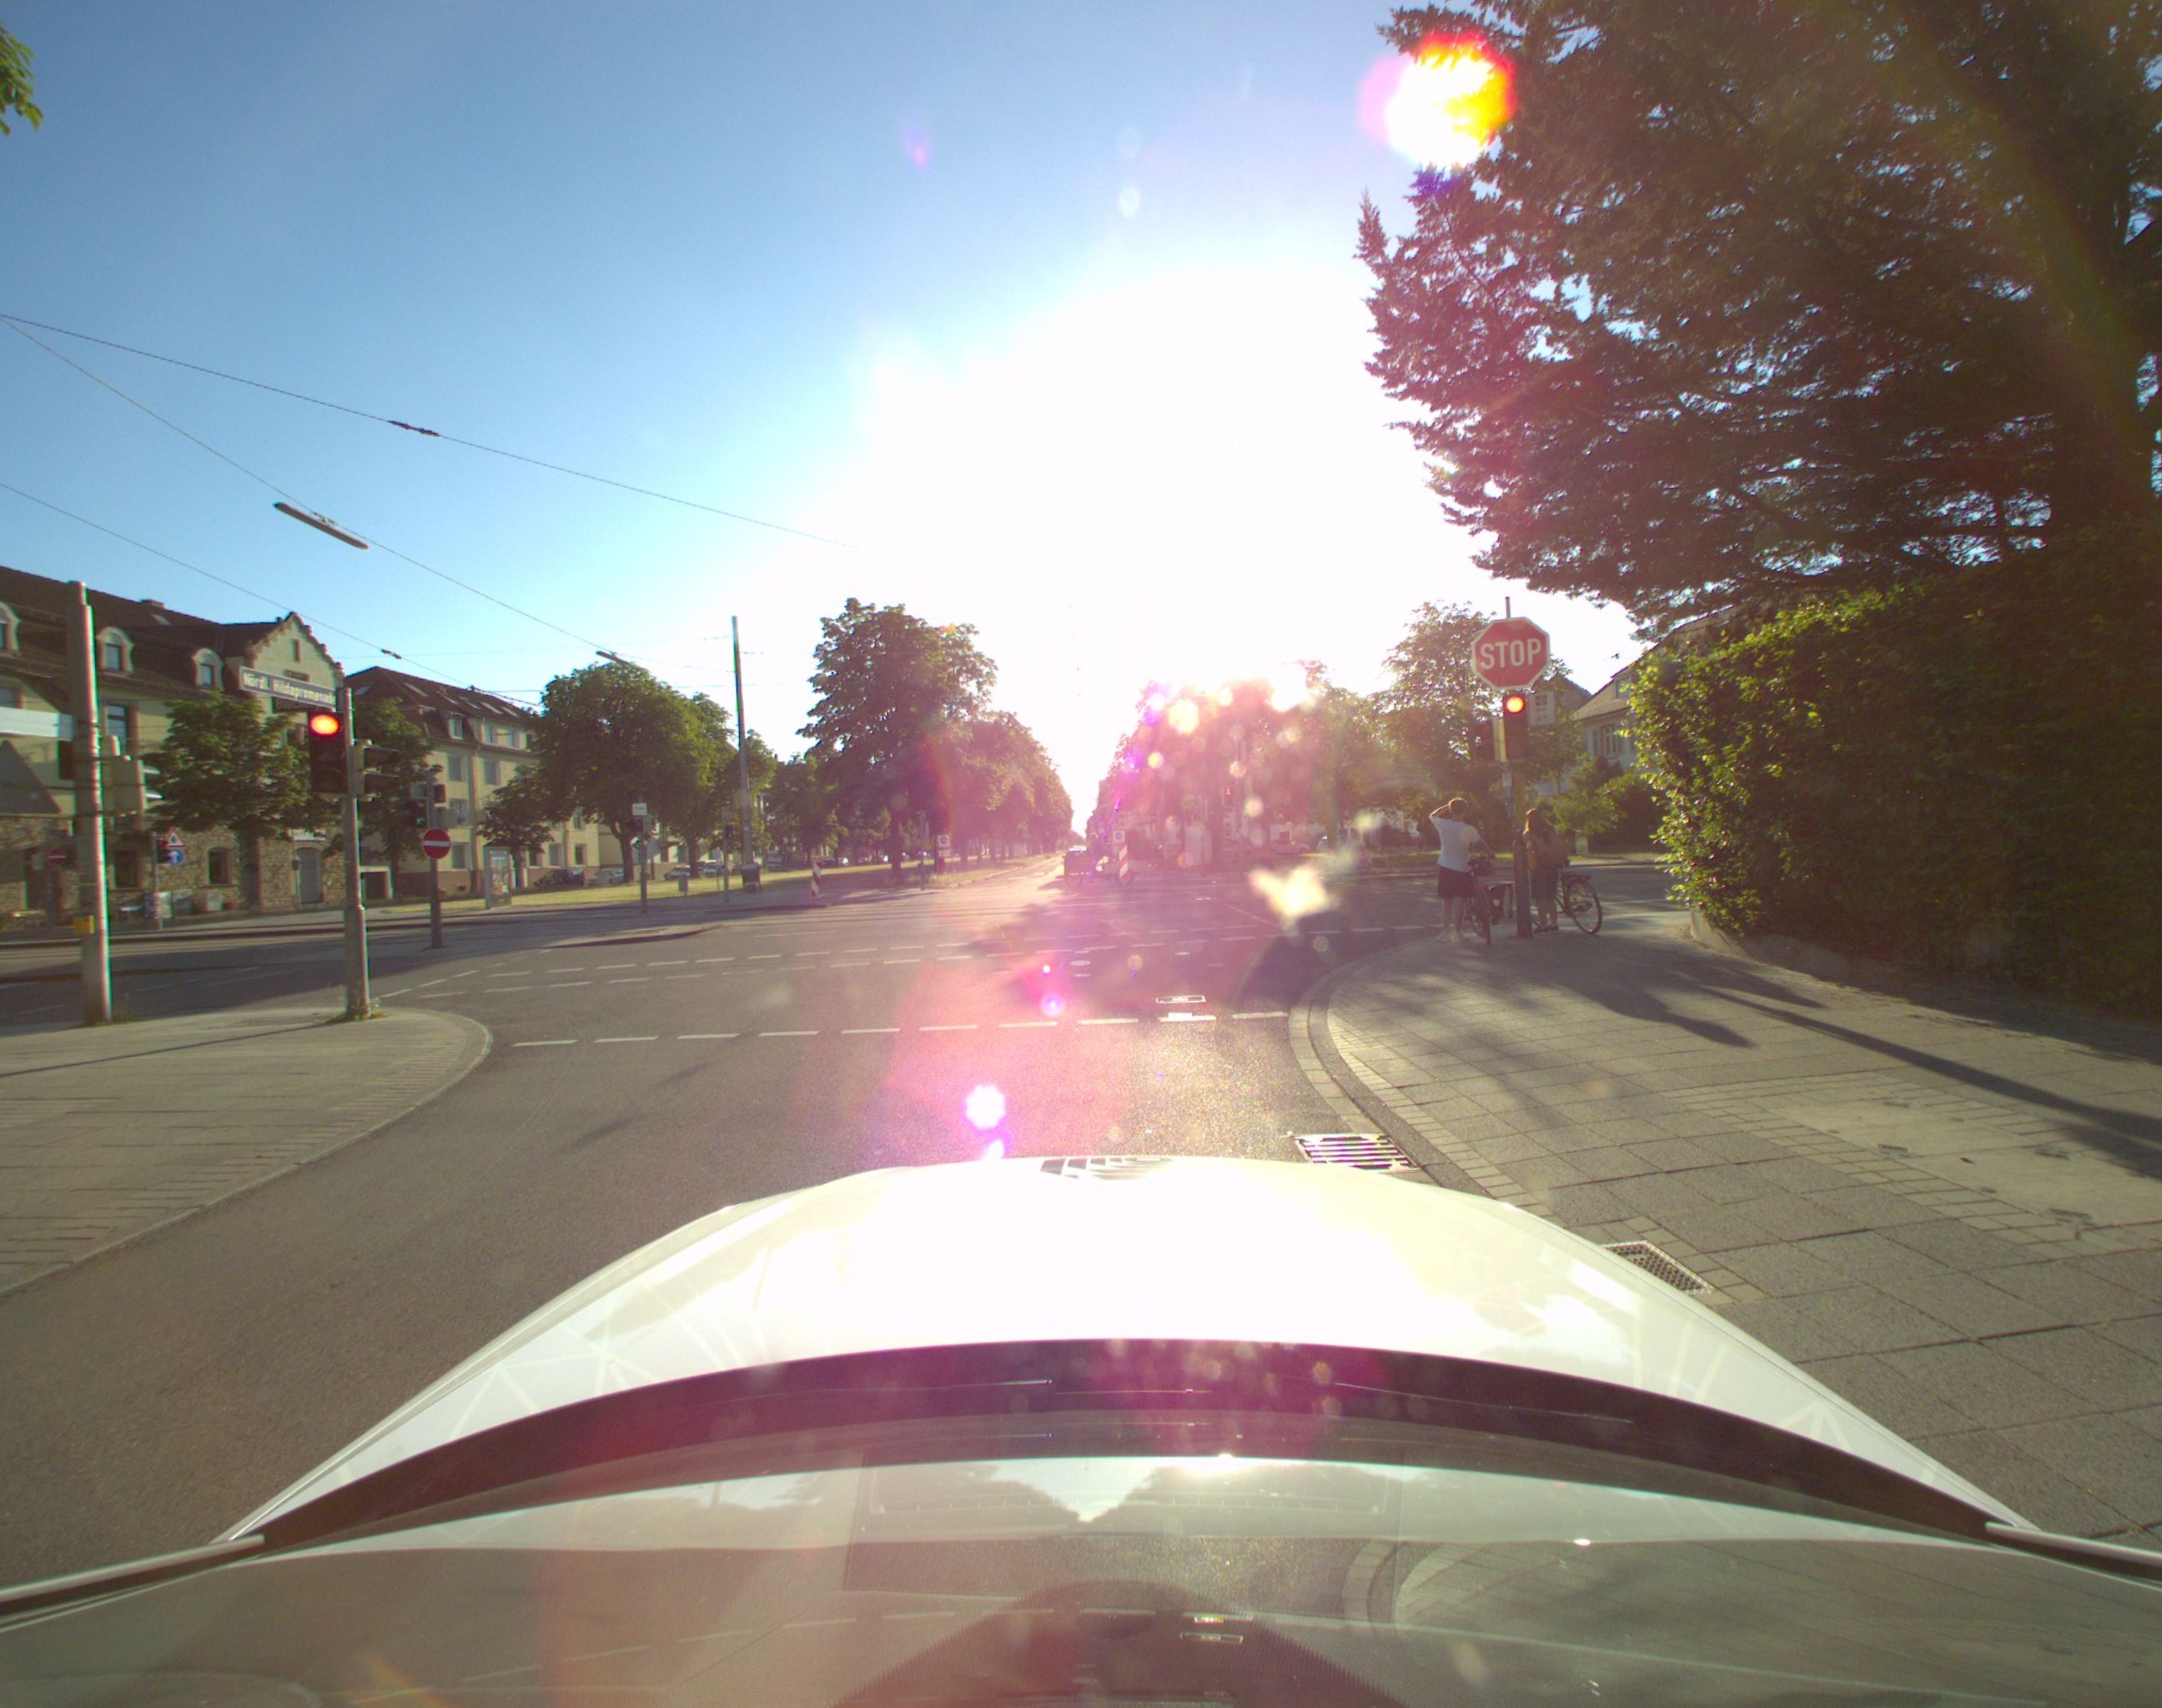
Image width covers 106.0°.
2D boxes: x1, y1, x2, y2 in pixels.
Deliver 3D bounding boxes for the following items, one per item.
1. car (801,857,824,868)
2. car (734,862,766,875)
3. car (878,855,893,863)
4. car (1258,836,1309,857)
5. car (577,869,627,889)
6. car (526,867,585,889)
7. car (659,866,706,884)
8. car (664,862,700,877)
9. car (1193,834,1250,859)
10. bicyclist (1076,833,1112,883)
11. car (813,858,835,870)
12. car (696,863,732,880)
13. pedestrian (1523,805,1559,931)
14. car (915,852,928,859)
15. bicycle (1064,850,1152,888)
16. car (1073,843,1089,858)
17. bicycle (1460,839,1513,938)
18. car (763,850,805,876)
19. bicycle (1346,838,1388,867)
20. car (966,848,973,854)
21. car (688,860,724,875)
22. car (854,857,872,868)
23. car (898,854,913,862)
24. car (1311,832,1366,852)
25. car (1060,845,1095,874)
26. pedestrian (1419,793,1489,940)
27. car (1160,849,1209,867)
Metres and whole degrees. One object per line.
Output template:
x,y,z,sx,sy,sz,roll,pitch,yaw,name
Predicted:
-42.086,1.319,127.896,1.986,1.659,4.376,0,-1,2,car
-42.216,1.817,103.943,1.986,1.659,4.572,0,-1,2,car
-41.713,0.978,173.929,1.986,1.659,4.357,0,-1,2,car
16.184,-0.593,65.107,3.548,1.516,1.602,-2,0,-6,car
-43.150,2.230,73.443,1.986,1.659,4.001,0,-1,2,car
-43.285,1.932,67.188,1.986,1.736,4.313,0,-1,2,car
-37.470,1.943,76.710,1.986,1.659,4.572,0,-1,2,car
-42.818,1.645,87.519,1.709,1.633,4.192,0,-1,2,car
11.256,-0.581,65.416,4.228,1.875,2.030,-2,-1,-1,car
0.485,0.131,29.360,1.139,1.723,0.876,-3,-1,4,bicyclist
-37.117,1.426,117.725,1.873,1.674,4.315,0,0,1,car
-37.232,1.728,82.705,1.791,1.554,4.417,0,1,-2,car
5.944,0.183,10.535,0.346,1.585,0.465,-1,-1,23,pedestrian
-36.827,0.344,188.183,1.987,1.658,4.570,-3,0,0,car
0.974,0.531,29.322,3.059,1.161,0.876,-3,-1,4,bicycle
-0.072,-0.447,103.945,1.987,1.781,3.999,0,1,-1,car
5.310,0.397,10.689,0.567,1.184,1.917,0,1,26,bicycle
-37.172,1.103,102.219,2.384,3.131,7.853,0,0,0,car
11.516,-0.055,32.781,1.513,1.089,0.469,-2,3,9,bicycle
-34.908,-0.979,255.126,1.649,1.938,3.566,0,-2,-1,car
-43.474,1.577,94.467,1.986,1.659,4.572,0,-1,2,car
-36.925,1.442,137.914,1.805,1.781,4.123,0,-1,1,car
-36.329,0.887,168.666,2.016,1.659,3.984,0,-1,1,car
20.736,-0.950,65.655,3.915,1.524,1.521,-1,-1,-5,car
-0.146,0.323,44.739,1.719,1.511,4.542,0,0,2,car
5.009,0.158,10.979,0.622,1.866,0.778,-6,-1,20,pedestrian
8.961,0.356,70.568,3.975,1.447,1.715,-2,-1,-1,car
